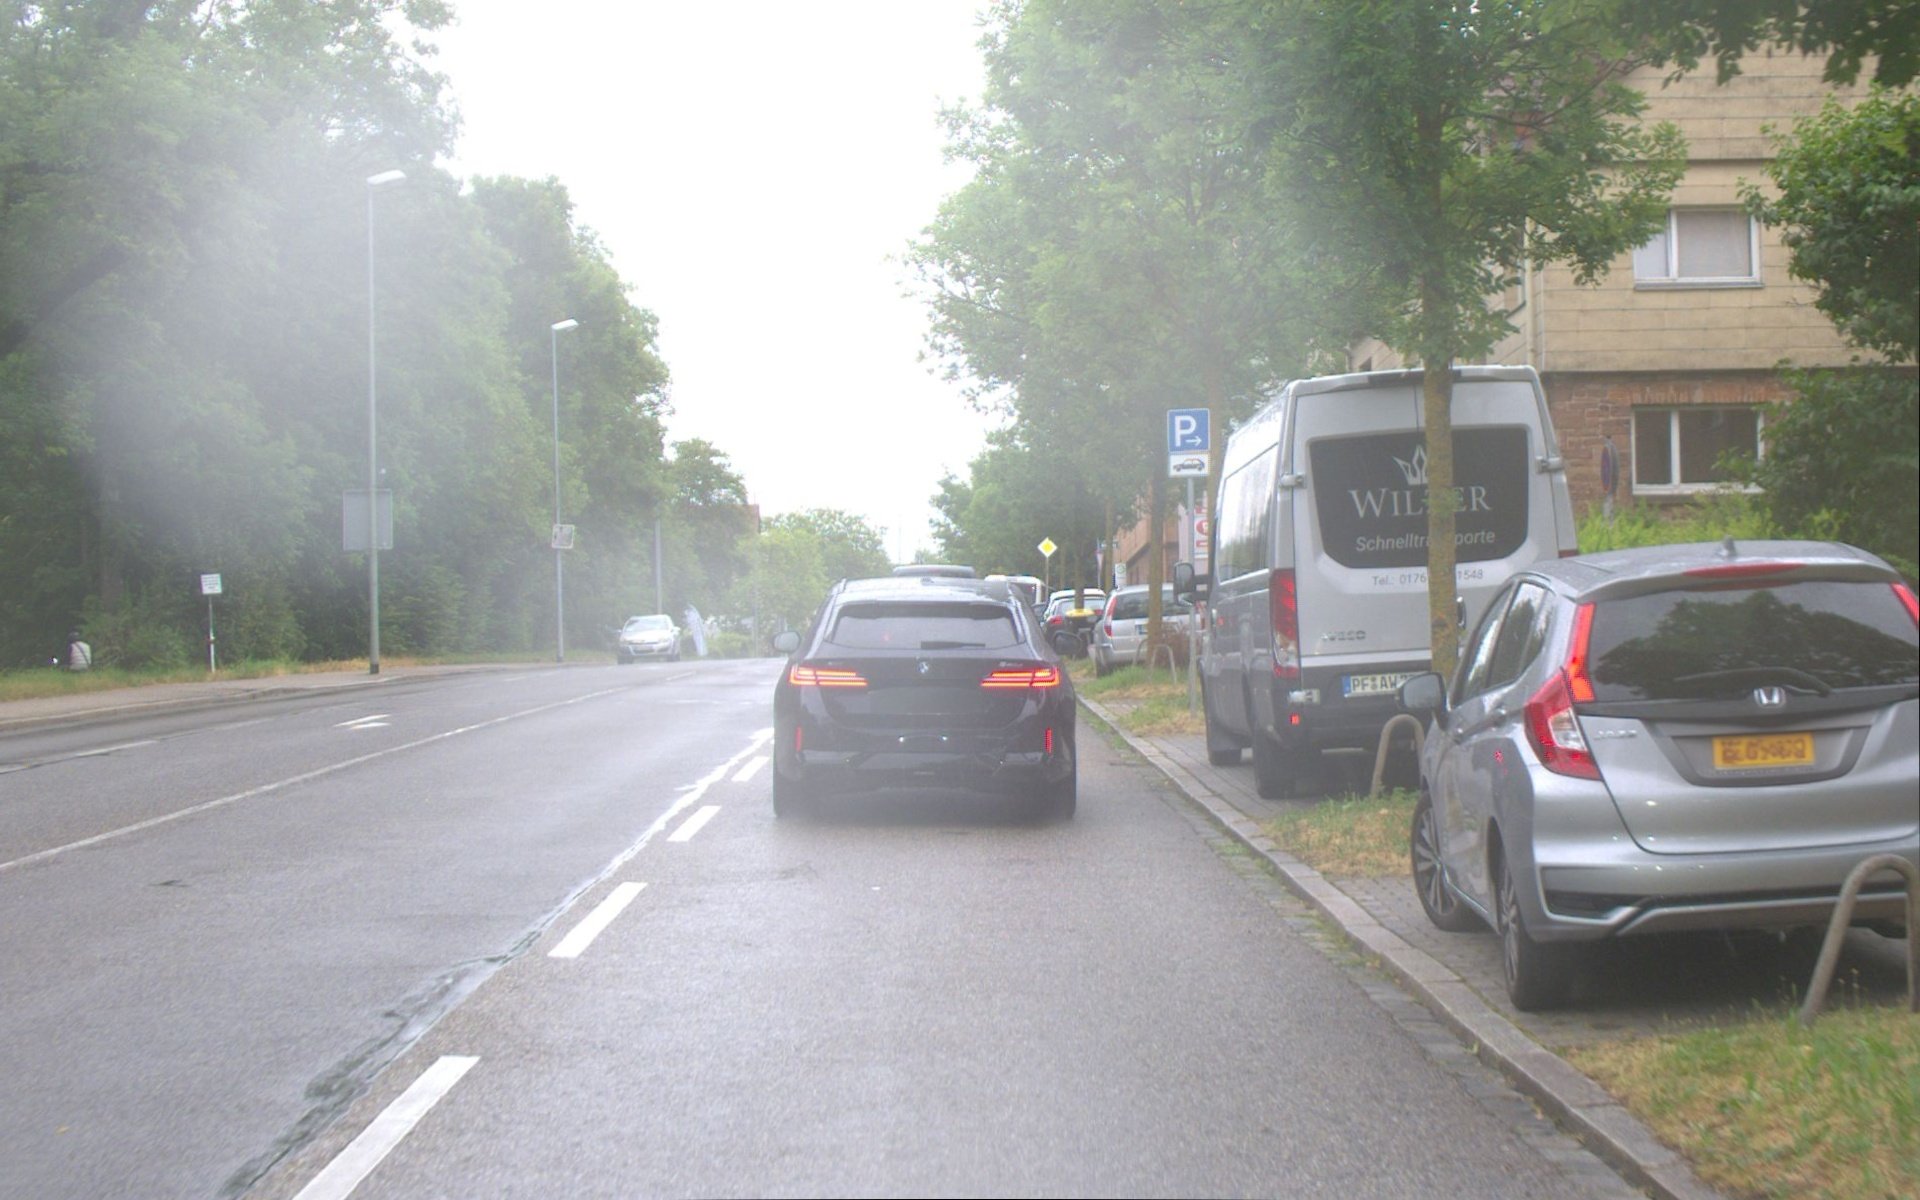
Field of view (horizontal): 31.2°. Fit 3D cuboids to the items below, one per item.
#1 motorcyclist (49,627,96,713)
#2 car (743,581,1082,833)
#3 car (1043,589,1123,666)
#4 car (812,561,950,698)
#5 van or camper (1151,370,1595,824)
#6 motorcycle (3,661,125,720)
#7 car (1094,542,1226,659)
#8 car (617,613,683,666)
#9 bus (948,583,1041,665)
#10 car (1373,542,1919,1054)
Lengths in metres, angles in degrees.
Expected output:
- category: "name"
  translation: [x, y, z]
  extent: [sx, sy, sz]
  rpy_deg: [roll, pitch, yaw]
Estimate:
- category: "motorcyclist"
  translation: [-17.612, 1.390, 68.252]
  extent: [0.649, 1.675, 0.813]
  rpy_deg: [1, 0, 6]
- category: "car"
  translation: [-0.313, 0.655, 22.611]
  extent: [1.993, 1.448, 4.000]
  rpy_deg: [2, 0, -1]
- category: "car"
  translation: [2.971, 0.665, 83.973]
  extent: [1.824, 1.766, 4.540]
  rpy_deg: [-2, 0, 1]
- category: "car"
  translation: [-1.173, 0.454, 52.766]
  extent: [1.993, 2.007, 4.000]
  rpy_deg: [0, -1, 0]
- category: "van or camper"
  translation: [2.689, -0.050, 24.356]
  extent: [2.198, 2.642, 7.301]
  rpy_deg: [-3, 0, 0]
- category: "motorcycle"
  translation: [-17.795, 1.799, 68.275]
  extent: [2.182, 1.114, 0.824]
  rpy_deg: [1, 0, 7]
- category: "car"
  translation: [2.994, -0.012, 52.350]
  extent: [1.702, 1.579, 4.642]
  rpy_deg: [-4, 0, 1]
- category: "car"
  translation: [-9.425, 1.197, 104.828]
  extent: [1.689, 1.478, 4.452]
  rpy_deg: [-3, 0, -2]
- category: "bus"
  translation: [1.316, 0.851, 126.335]
  extent: [2.623, 2.838, 8.286]
  rpy_deg: [-2, 0, 6]
- category: "car"
  translation: [2.572, 0.611, 12.738]
  extent: [1.668, 1.523, 3.831]
  rpy_deg: [-4, 0, 2]
